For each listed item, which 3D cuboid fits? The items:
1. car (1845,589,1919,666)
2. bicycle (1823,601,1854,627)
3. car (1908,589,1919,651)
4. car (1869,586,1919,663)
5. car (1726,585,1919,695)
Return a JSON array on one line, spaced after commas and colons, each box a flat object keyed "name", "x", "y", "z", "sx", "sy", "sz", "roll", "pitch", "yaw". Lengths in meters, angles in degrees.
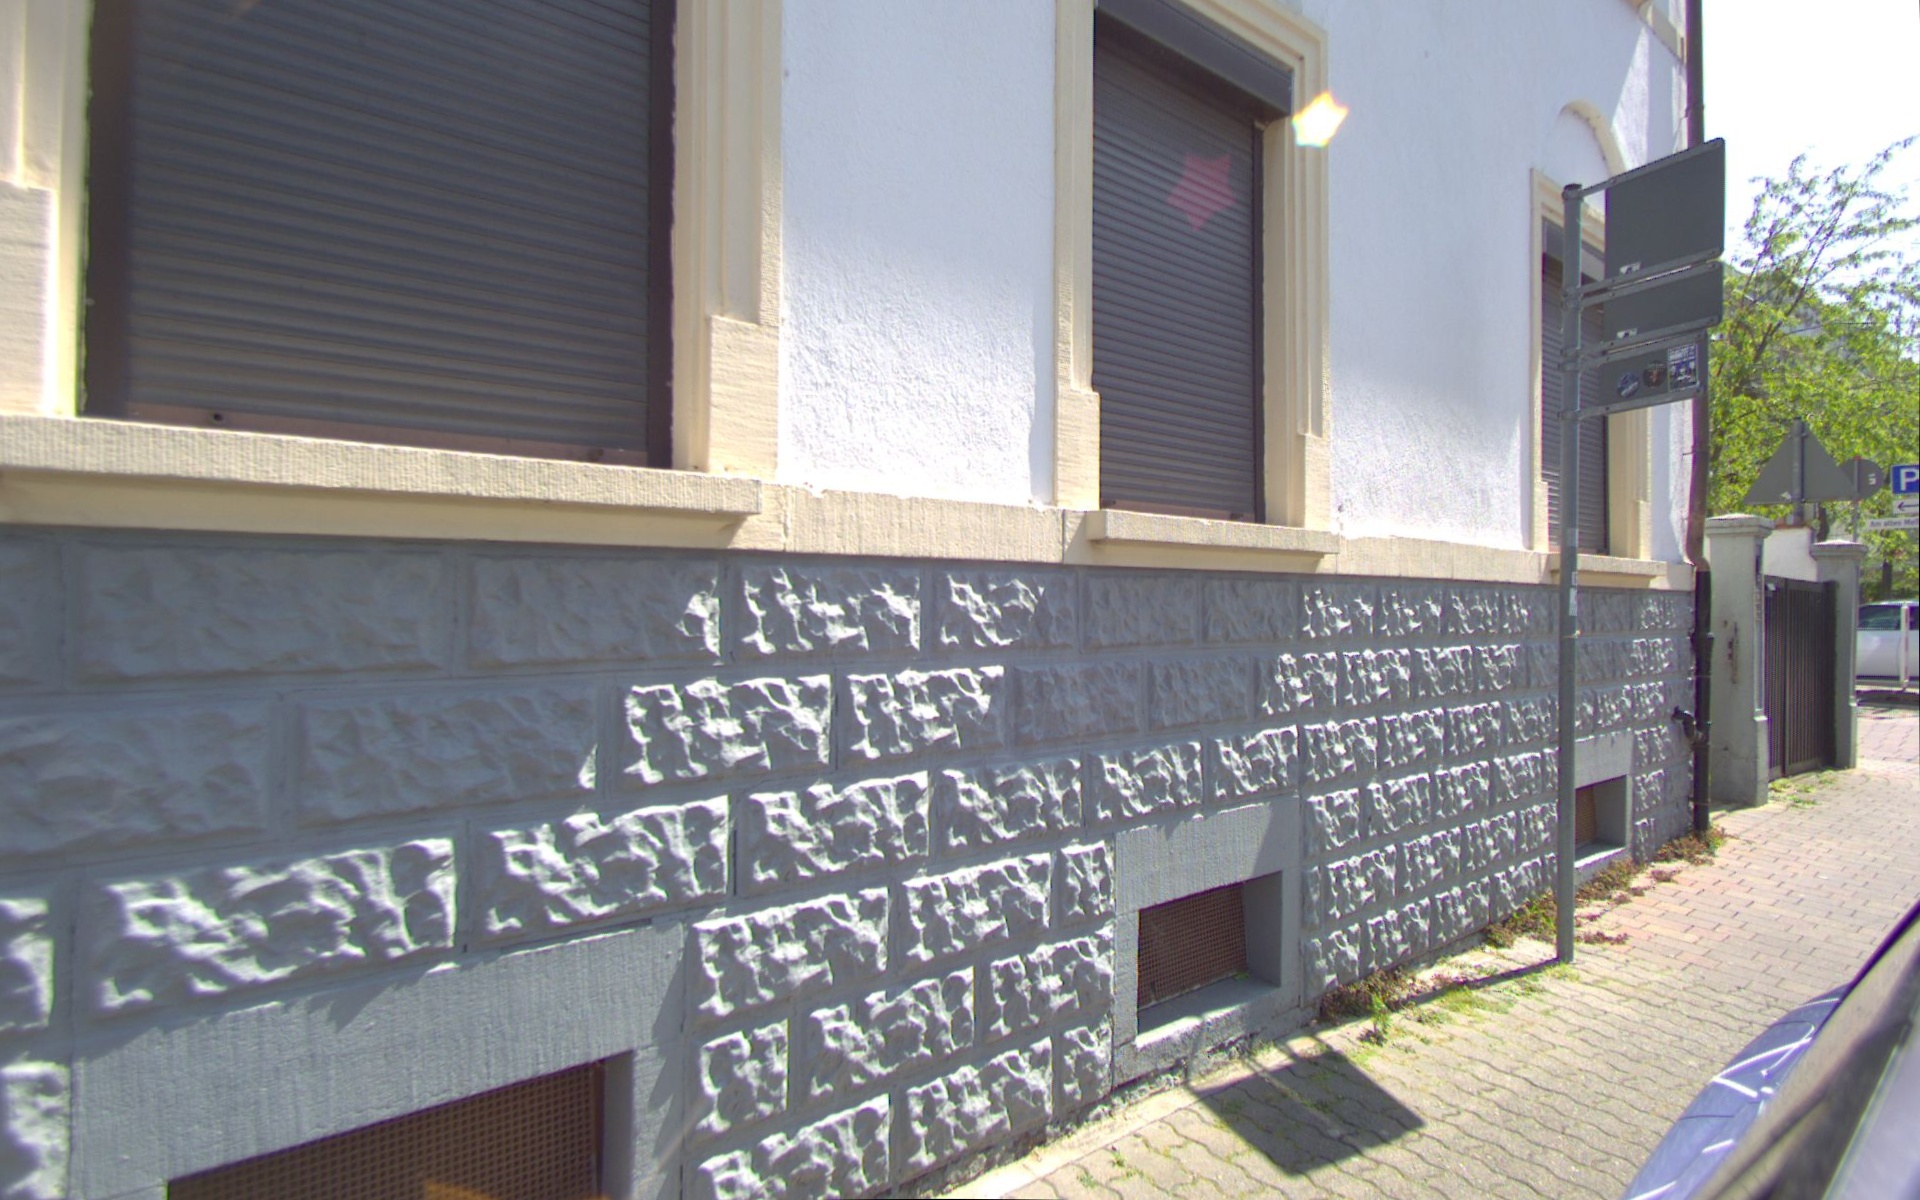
[{"name": "car", "x": 20.737, "y": 0.605, "z": 20.500, "sx": 1.790, "sy": 1.553, "sz": 3.955, "roll": 0, "pitch": 2, "yaw": -38}, {"name": "bicycle", "x": 38.061, "y": 0.598, "z": 43.854, "sx": 1.832, "sy": 1.095, "sz": 0.643, "roll": 0, "pitch": -1, "yaw": -38}, {"name": "car", "x": 26.931, "y": 0.582, "z": 25.229, "sx": 1.815, "sy": 1.608, "sz": 4.524, "roll": 1, "pitch": 1, "yaw": -35}, {"name": "car", "x": 22.921, "y": 0.574, "z": 22.131, "sx": 1.964, "sy": 1.702, "sz": 4.289, "roll": 0, "pitch": 1, "yaw": -39}, {"name": "car", "x": 15.030, "y": 0.624, "z": 15.898, "sx": 1.755, "sy": 1.595, "sz": 4.454, "roll": 1, "pitch": 1, "yaw": -37}]
